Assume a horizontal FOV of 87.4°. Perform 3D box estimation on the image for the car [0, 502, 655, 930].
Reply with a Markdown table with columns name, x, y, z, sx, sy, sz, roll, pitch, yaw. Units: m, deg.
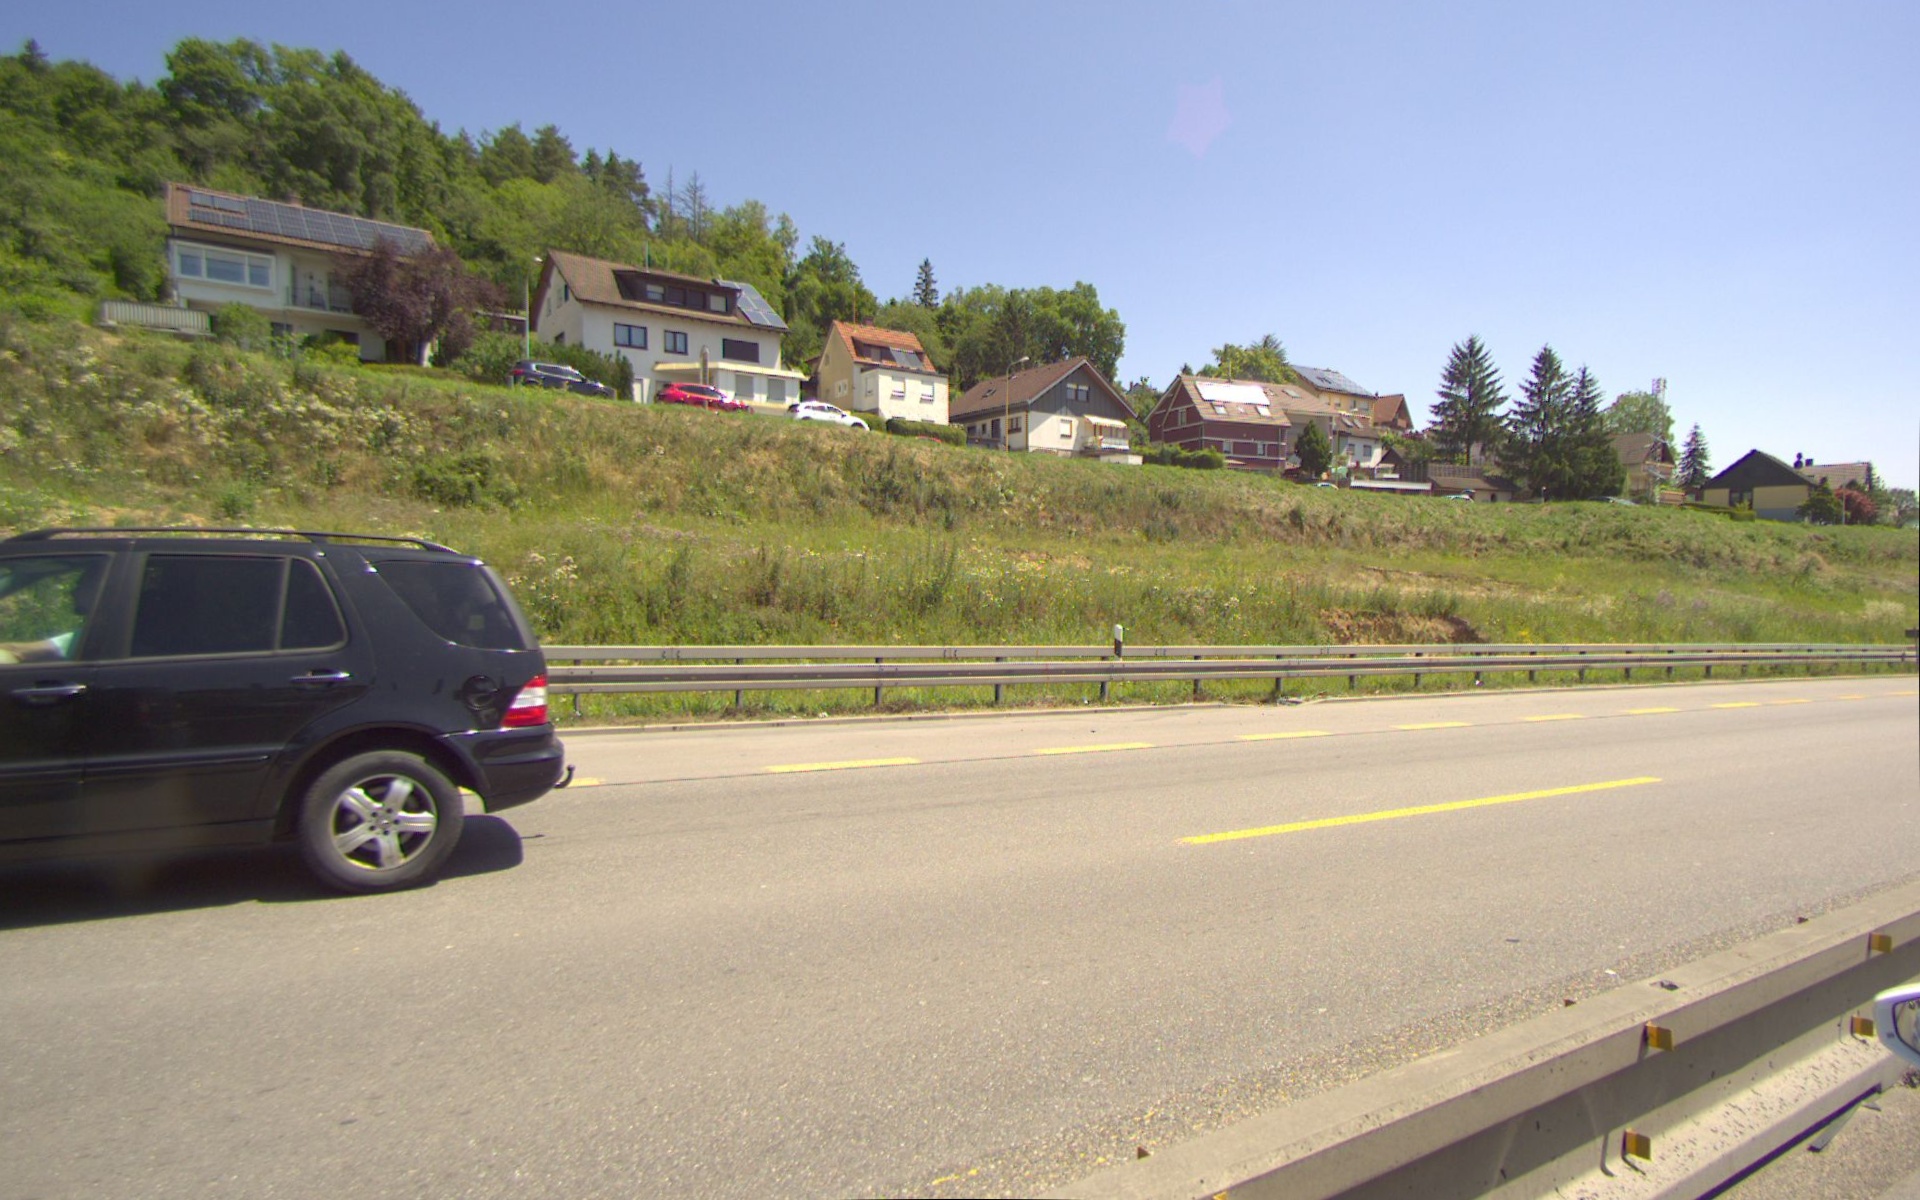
| name | x | y | z | sx | sy | sz | roll | pitch | yaw |
| --- | --- | --- | --- | --- | --- | --- | --- | --- | --- |
| car | -4.066 | 0.498 | 5.218 | 4.444 | 1.789 | 1.819 | 1 | -1 | -31 |

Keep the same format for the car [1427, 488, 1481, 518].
| name | x | y | z | sx | sy | sz | roll | pitch | yaw |
| --- | --- | --- | --- | --- | --- | --- | --- | --- | --- |
| car | 41.964 | -8.243 | 85.346 | 3.946 | 2.040 | 1.988 | 3 | -1 | -25 |

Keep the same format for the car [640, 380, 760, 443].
| name | x | y | z | sx | sy | sz | roll | pitch | yaw |
| --- | --- | --- | --- | --- | --- | --- | --- | --- | --- |
| car | -11.747 | -8.448 | 45.455 | 4.751 | 1.817 | 2.334 | 3 | -1 | -34 |

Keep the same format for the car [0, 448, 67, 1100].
| name | x | y | z | sx | sy | sz | roll | pitch | yaw |
| --- | --- | --- | --- | --- | --- | --- | --- | --- | --- |
| car | -4.535 | 0.439 | 1.228 | 4.825 | 1.801 | 1.837 | 1 | 0 | -31 |

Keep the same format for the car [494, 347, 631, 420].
| name | x | y | z | sx | sy | sz | roll | pitch | yaw |
| --- | --- | --- | --- | --- | --- | --- | --- | --- | --- |
| car | -16.097 | -8.688 | 40.777 | 4.720 | 1.817 | 2.162 | 3 | -1 | -37 |

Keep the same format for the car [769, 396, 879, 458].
| name | x | y | z | sx | sy | sz | roll | pitch | yaw |
| --- | --- | --- | --- | --- | --- | --- | --- | --- | --- |
| car | -6.613 | -8.355 | 48.999 | 4.767 | 2.068 | 2.334 | 3 | -1 | -33 |
